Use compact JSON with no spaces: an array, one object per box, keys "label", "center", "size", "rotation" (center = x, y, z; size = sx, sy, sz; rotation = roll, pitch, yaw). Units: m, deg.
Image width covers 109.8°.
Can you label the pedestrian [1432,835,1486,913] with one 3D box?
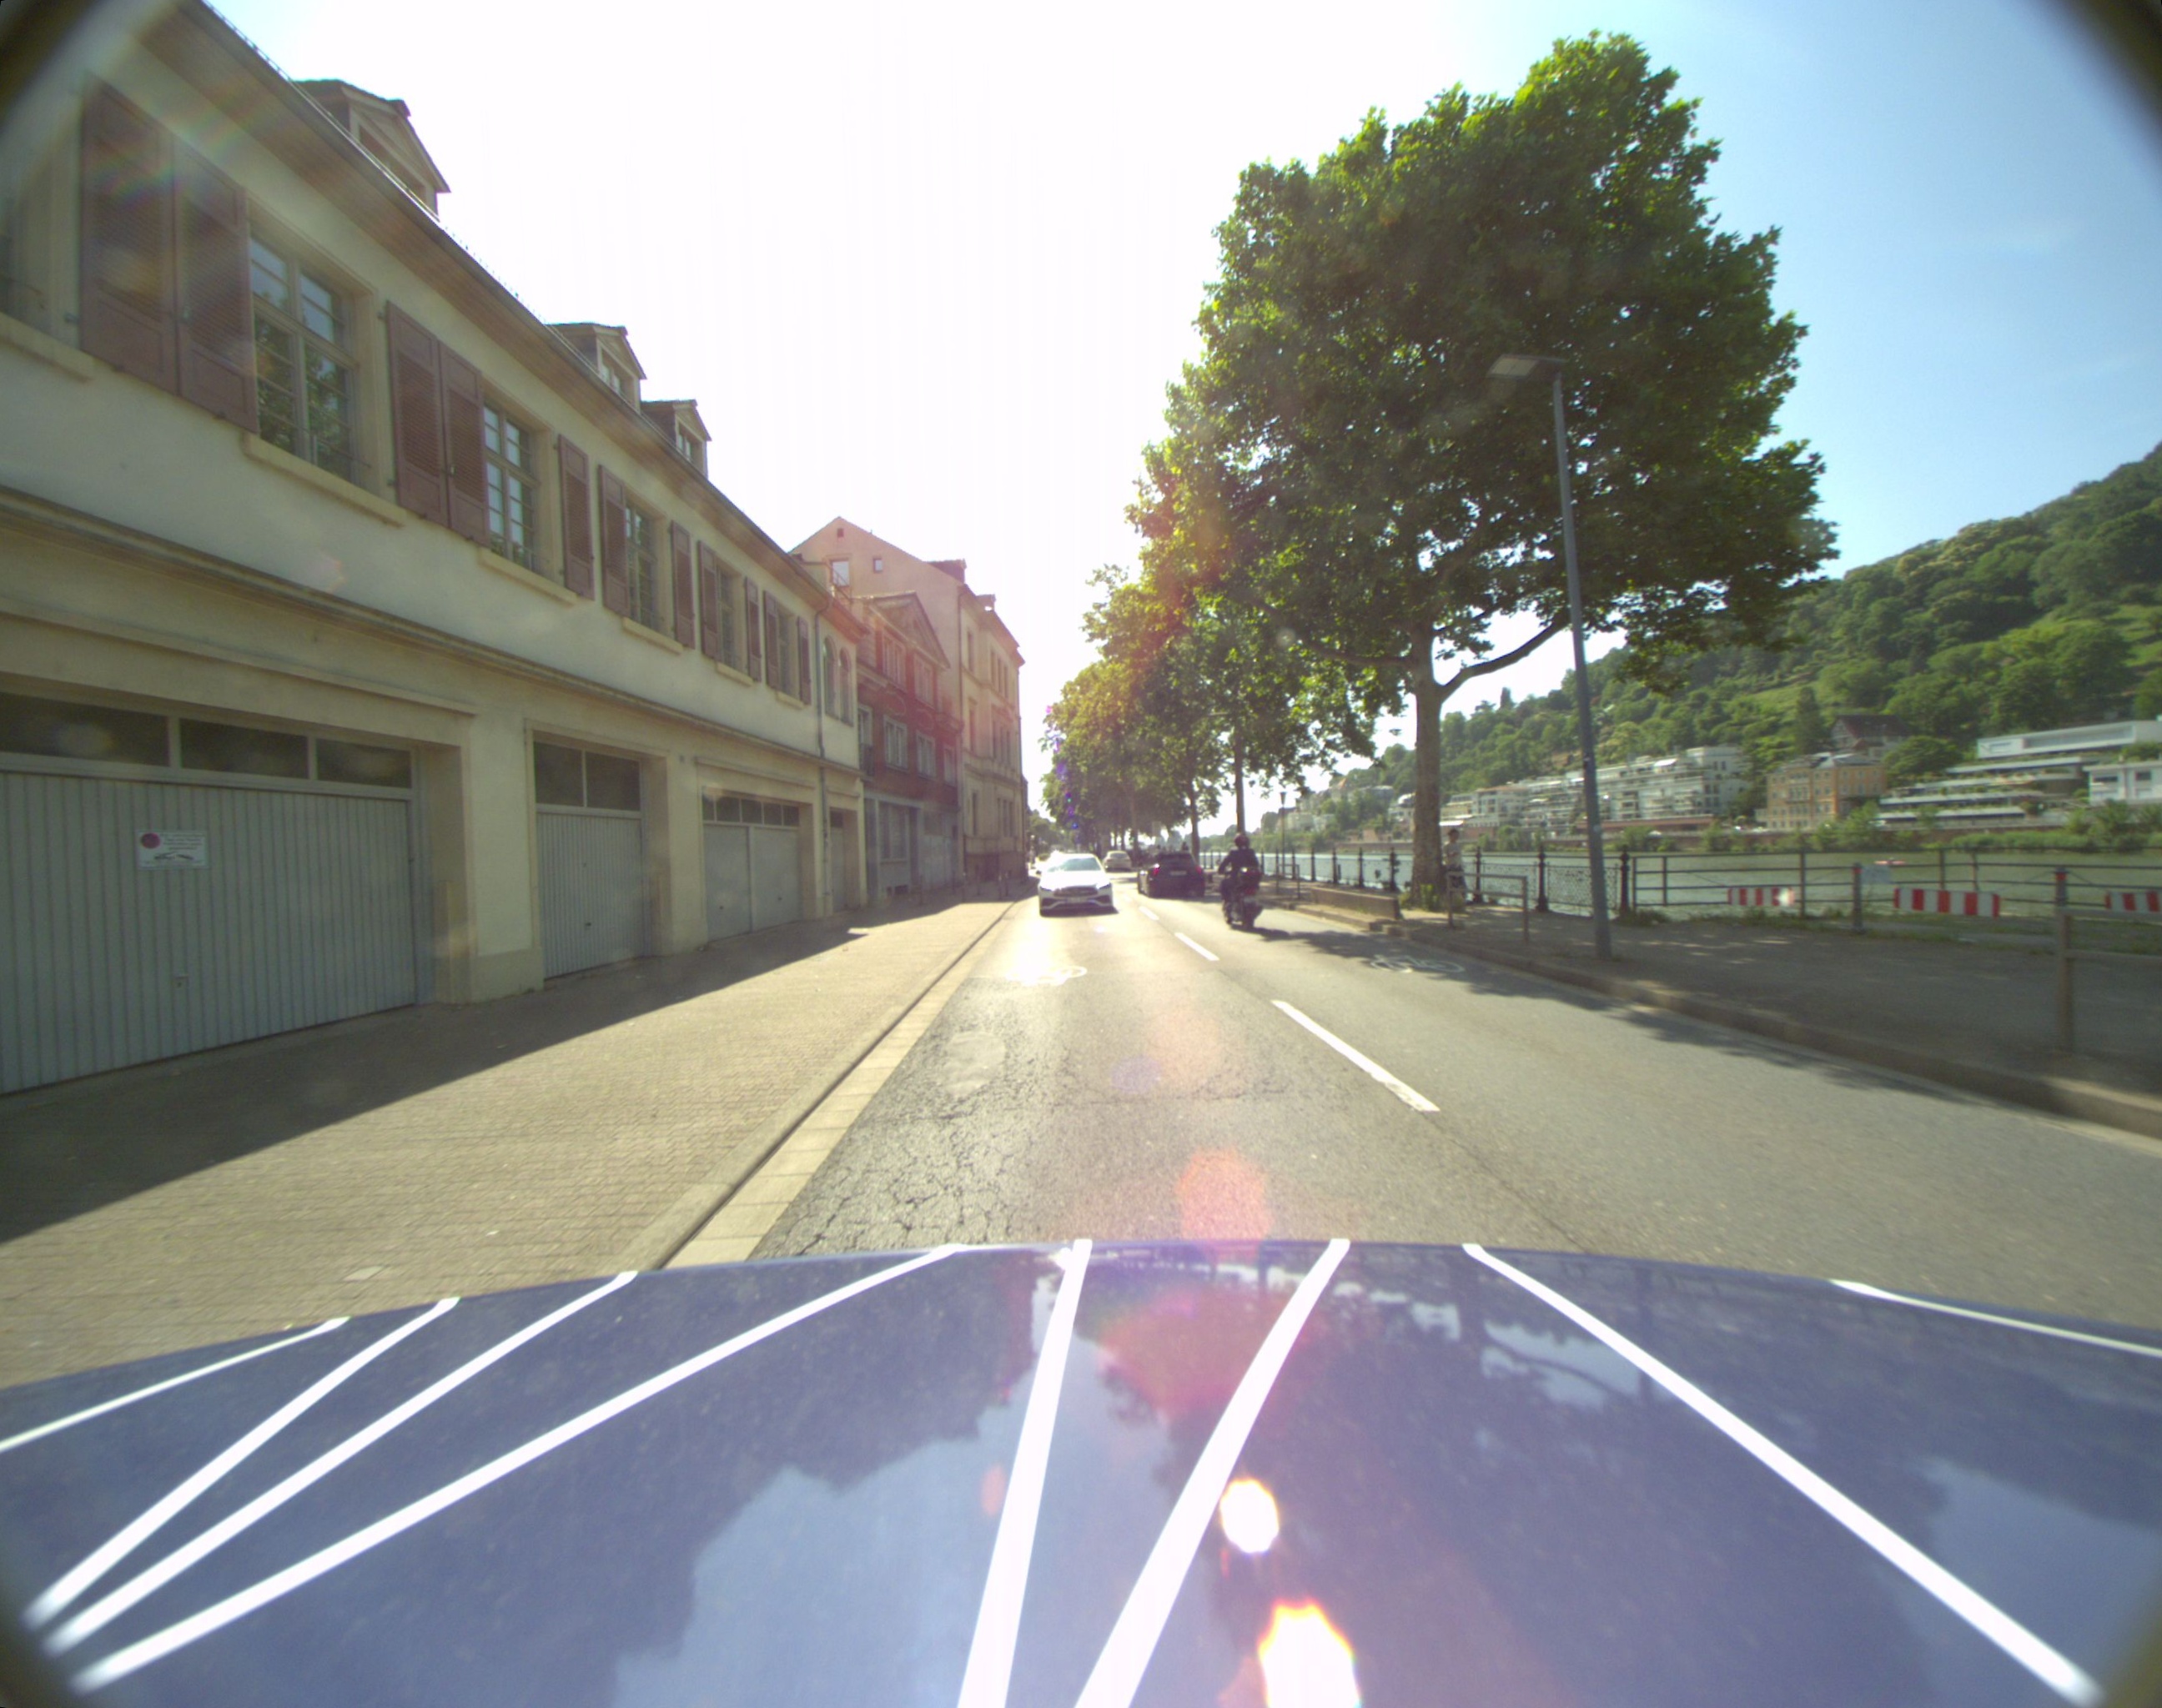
[{"label":"pedestrian","center":[7.916,0.399,15.938],"size":[0.764,1.577,0.695],"rotation":[-2,1,-2]}]

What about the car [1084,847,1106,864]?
[{"label":"car","center":[1.366,0.148,76.797],"size":[1.740,1.509,4.402],"rotation":[-3,1,-4]}]

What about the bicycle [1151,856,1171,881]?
[{"label":"bicycle","center":[3.682,0.636,34.981],"size":[0.742,1.071,1.953],"rotation":[-3,0,3]}]

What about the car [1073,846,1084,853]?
[{"label":"car","center":[-0.477,-0.795,136.178],"size":[1.846,1.262,4.260],"rotation":[-1,1,-3]}]

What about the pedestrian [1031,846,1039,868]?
[{"label":"pedestrian","center":[-3.950,0.233,65.264],"size":[0.618,1.841,0.730],"rotation":[-2,1,-1]}]

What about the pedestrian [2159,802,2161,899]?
[{"label":"pedestrian","center":[10.498,0.331,6.774],"size":[0.757,1.673,0.658],"rotation":[-4,2,6]}]

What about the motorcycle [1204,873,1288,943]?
[{"label":"motorcycle","center":[2.907,0.925,13.693],"size":[0.885,1.071,2.327],"rotation":[-1,0,-4]}]

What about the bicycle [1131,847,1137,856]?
[{"label":"bicycle","center":[7.010,-0.351,100.227],"size":[0.564,1.146,1.843],"rotation":[-3,1,-2]}]

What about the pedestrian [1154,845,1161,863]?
[{"label":"pedestrian","center":[6.729,-0.002,66.767],"size":[0.495,1.608,0.991],"rotation":[-2,1,-2]}]

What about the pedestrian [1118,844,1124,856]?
[{"label":"pedestrian","center":[5.826,-0.596,110.621],"size":[0.793,1.674,0.709],"rotation":[0,1,-2]}]

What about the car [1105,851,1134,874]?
[{"label":"car","center":[2.633,0.599,52.479],"size":[1.705,1.436,4.091],"rotation":[-3,0,-1]}]

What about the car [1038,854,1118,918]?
[{"label":"car","center":[-0.119,0.756,20.219],"size":[1.875,1.416,4.743],"rotation":[-1,1,-1]}]

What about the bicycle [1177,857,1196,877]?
[{"label":"bicycle","center":[5.429,0.680,39.174],"size":[0.756,0.973,1.953],"rotation":[-2,0,3]}]

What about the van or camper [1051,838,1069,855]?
[{"label":"van or camper","center":[-3.043,-1.115,107.757],"size":[2.438,2.271,6.201],"rotation":[-2,1,-2]}]

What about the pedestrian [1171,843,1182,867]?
[{"label":"pedestrian","center":[6.764,0.056,53.922],"size":[0.654,1.704,0.793],"rotation":[-1,1,-4]}]

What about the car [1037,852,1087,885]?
[{"label":"car","center":[-0.881,0.683,38.259],"size":[1.874,1.416,4.746],"rotation":[-2,0,6]}]

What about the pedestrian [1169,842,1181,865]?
[{"label":"pedestrian","center":[7.418,-0.032,59.846],"size":[0.713,1.754,0.972],"rotation":[-2,1,-2]}]

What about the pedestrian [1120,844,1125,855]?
[{"label":"pedestrian","center":[6.018,-0.701,110.803],"size":[0.634,1.618,0.552],"rotation":[-2,2,-2]}]

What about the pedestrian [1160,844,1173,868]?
[{"label":"pedestrian","center":[6.043,0.122,53.842],"size":[0.837,1.704,0.782],"rotation":[0,1,-2]}]

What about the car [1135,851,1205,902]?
[{"label":"car","center":[2.824,0.667,24.743],"size":[1.705,1.450,4.000],"rotation":[-1,1,-1]}]

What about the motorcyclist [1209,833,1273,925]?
[{"label":"motorcyclist","center":[2.878,0.425,13.755],"size":[0.881,1.574,1.024],"rotation":[-2,1,-3]}]

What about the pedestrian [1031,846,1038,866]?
[{"label":"pedestrian","center":[-3.955,0.176,64.556],"size":[0.528,1.702,0.665],"rotation":[-2,2,-2]}]

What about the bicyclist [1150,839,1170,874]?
[{"label":"bicyclist","center":[3.628,0.119,35.020],"size":[0.768,1.522,1.025],"rotation":[-3,-1,0]}]

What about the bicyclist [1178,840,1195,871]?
[{"label":"bicyclist","center":[5.413,0.077,38.980],"size":[0.721,1.574,1.089],"rotation":[-1,1,3]}]
